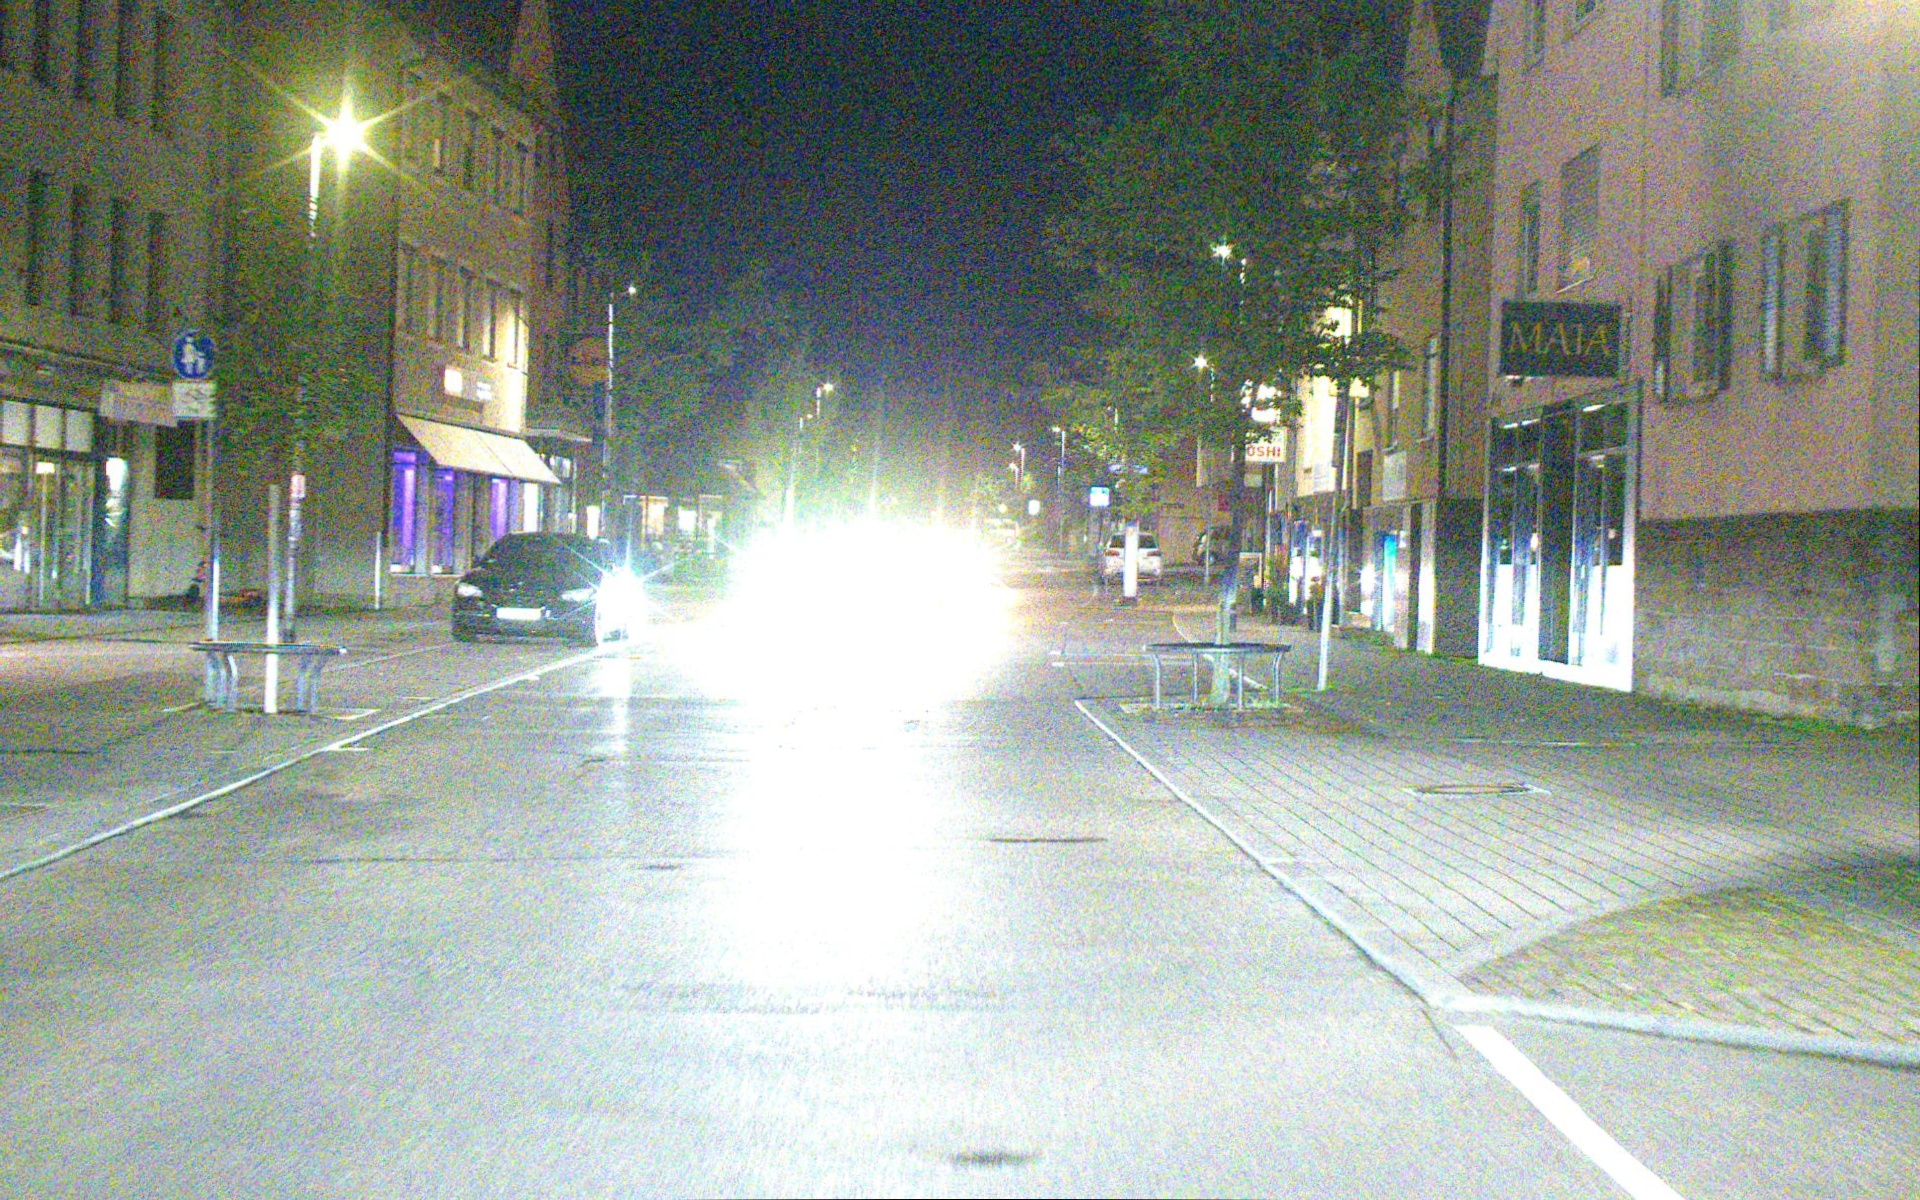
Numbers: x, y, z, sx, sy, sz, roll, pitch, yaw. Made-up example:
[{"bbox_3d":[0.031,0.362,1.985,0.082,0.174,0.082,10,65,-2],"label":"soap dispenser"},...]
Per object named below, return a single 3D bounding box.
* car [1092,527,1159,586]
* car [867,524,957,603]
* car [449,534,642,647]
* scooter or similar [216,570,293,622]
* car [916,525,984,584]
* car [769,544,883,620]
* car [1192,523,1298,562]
[{"bbox_3d":[4.751,-1.262,99.054,1.775,1.647,4.364,1,1,1],"label":"car"},{"bbox_3d":[-1.022,-0.812,74.734,1.775,1.647,4.364,1,1,1],"label":"car"},{"bbox_3d":[-5.440,-0.165,45.595,1.914,1.366,4.457,1,1,1],"label":"car"},{"bbox_3d":[-10.958,-0.063,53.443,1.095,0.778,0.525,1,1,-3],"label":"scooter or similar"},{"bbox_3d":[-0.276,-1.327,99.400,1.775,1.647,4.364,1,1,2],"label":"car"},{"bbox_3d":[-2.269,-0.330,59.173,1.723,1.242,4.237,1,1,1],"label":"car"},{"bbox_3d":[10.972,-2.206,132.143,3.988,1.412,1.999,1,-1,6],"label":"car"}]
